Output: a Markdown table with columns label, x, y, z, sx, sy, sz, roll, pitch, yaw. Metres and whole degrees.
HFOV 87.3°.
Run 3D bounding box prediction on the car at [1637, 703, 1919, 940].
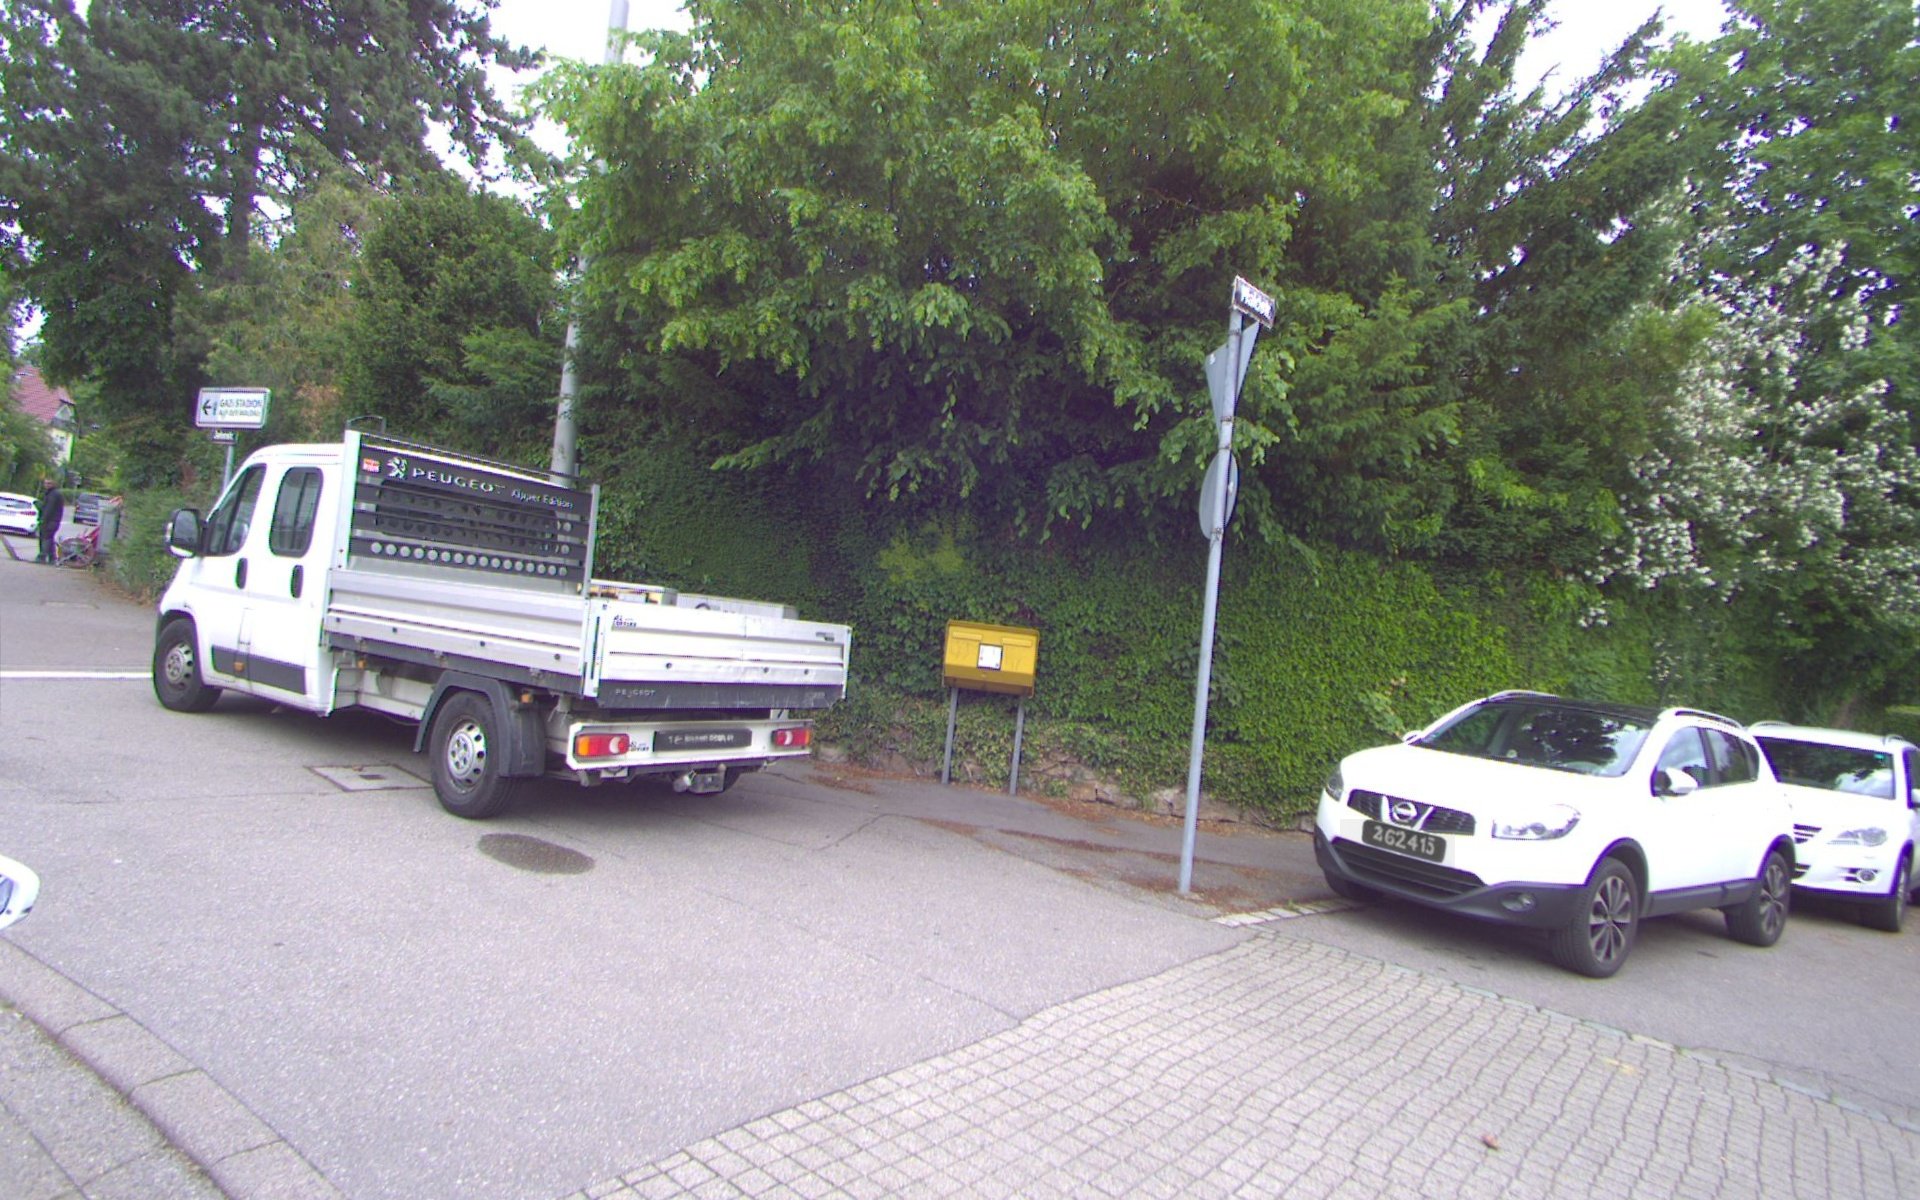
| label | x | y | z | sx | sy | sz | roll | pitch | yaw |
| --- | --- | --- | --- | --- | --- | --- | --- | --- | --- |
| car | 8.435 | 2.060 | 9.861 | 4.042 | 1.641 | 1.780 | 9 | -3 | -39 |

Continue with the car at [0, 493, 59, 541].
| label | x | y | z | sx | sy | sz | roll | pitch | yaw |
| --- | --- | --- | --- | --- | --- | --- | --- | --- | --- |
| car | -34.539 | -3.069 | 36.717 | 1.832 | 1.476 | 4.039 | 10 | -2 | -35 |

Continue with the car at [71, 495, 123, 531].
| label | x | y | z | sx | sy | sz | roll | pitch | yaw |
| --- | --- | --- | --- | --- | --- | --- | --- | --- | --- |
| car | -54.122 | -5.415 | 63.171 | 1.930 | 1.846 | 4.038 | 10 | -2 | -36 |

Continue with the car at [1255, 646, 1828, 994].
| label | x | y | z | sx | sy | sz | roll | pitch | yaw |
| --- | --- | --- | --- | --- | --- | --- | --- | --- | --- |
| car | 4.178 | 1.412 | 7.014 | 4.098 | 1.641 | 1.783 | 9 | -2 | -35 |

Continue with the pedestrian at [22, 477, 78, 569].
| label | x | y | z | sx | sy | sz | roll | pitch | yaw |
| --- | --- | --- | --- | --- | --- | --- | --- | --- | --- |
| pedestrian | -20.081 | -1.695 | 22.198 | 0.549 | 1.929 | 0.597 | 7 | -1 | 32 |

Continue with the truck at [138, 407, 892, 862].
| label | x | y | z | sx | sy | sz | roll | pitch | yaw |
| --- | --- | --- | --- | --- | --- | --- | --- | --- | --- |
| truck | -3.525 | 0.018 | 7.457 | 5.630 | 2.270 | 2.211 | 7 | -2 | 33 |

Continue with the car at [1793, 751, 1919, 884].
| label | x | y | z | sx | sy | sz | roll | pitch | yaw |
| --- | --- | --- | --- | --- | --- | --- | --- | --- | --- |
| car | 13.158 | 2.981 | 13.831 | 4.041 | 1.440 | 1.780 | 8 | -2 | -39 |

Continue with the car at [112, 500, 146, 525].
| label | x | y | z | sx | sy | sz | roll | pitch | yaw |
| --- | --- | --- | --- | --- | --- | --- | --- | --- | --- |
| car | -75.145 | -7.895 | 91.015 | 1.930 | 1.846 | 4.038 | 10 | -2 | -36 |
